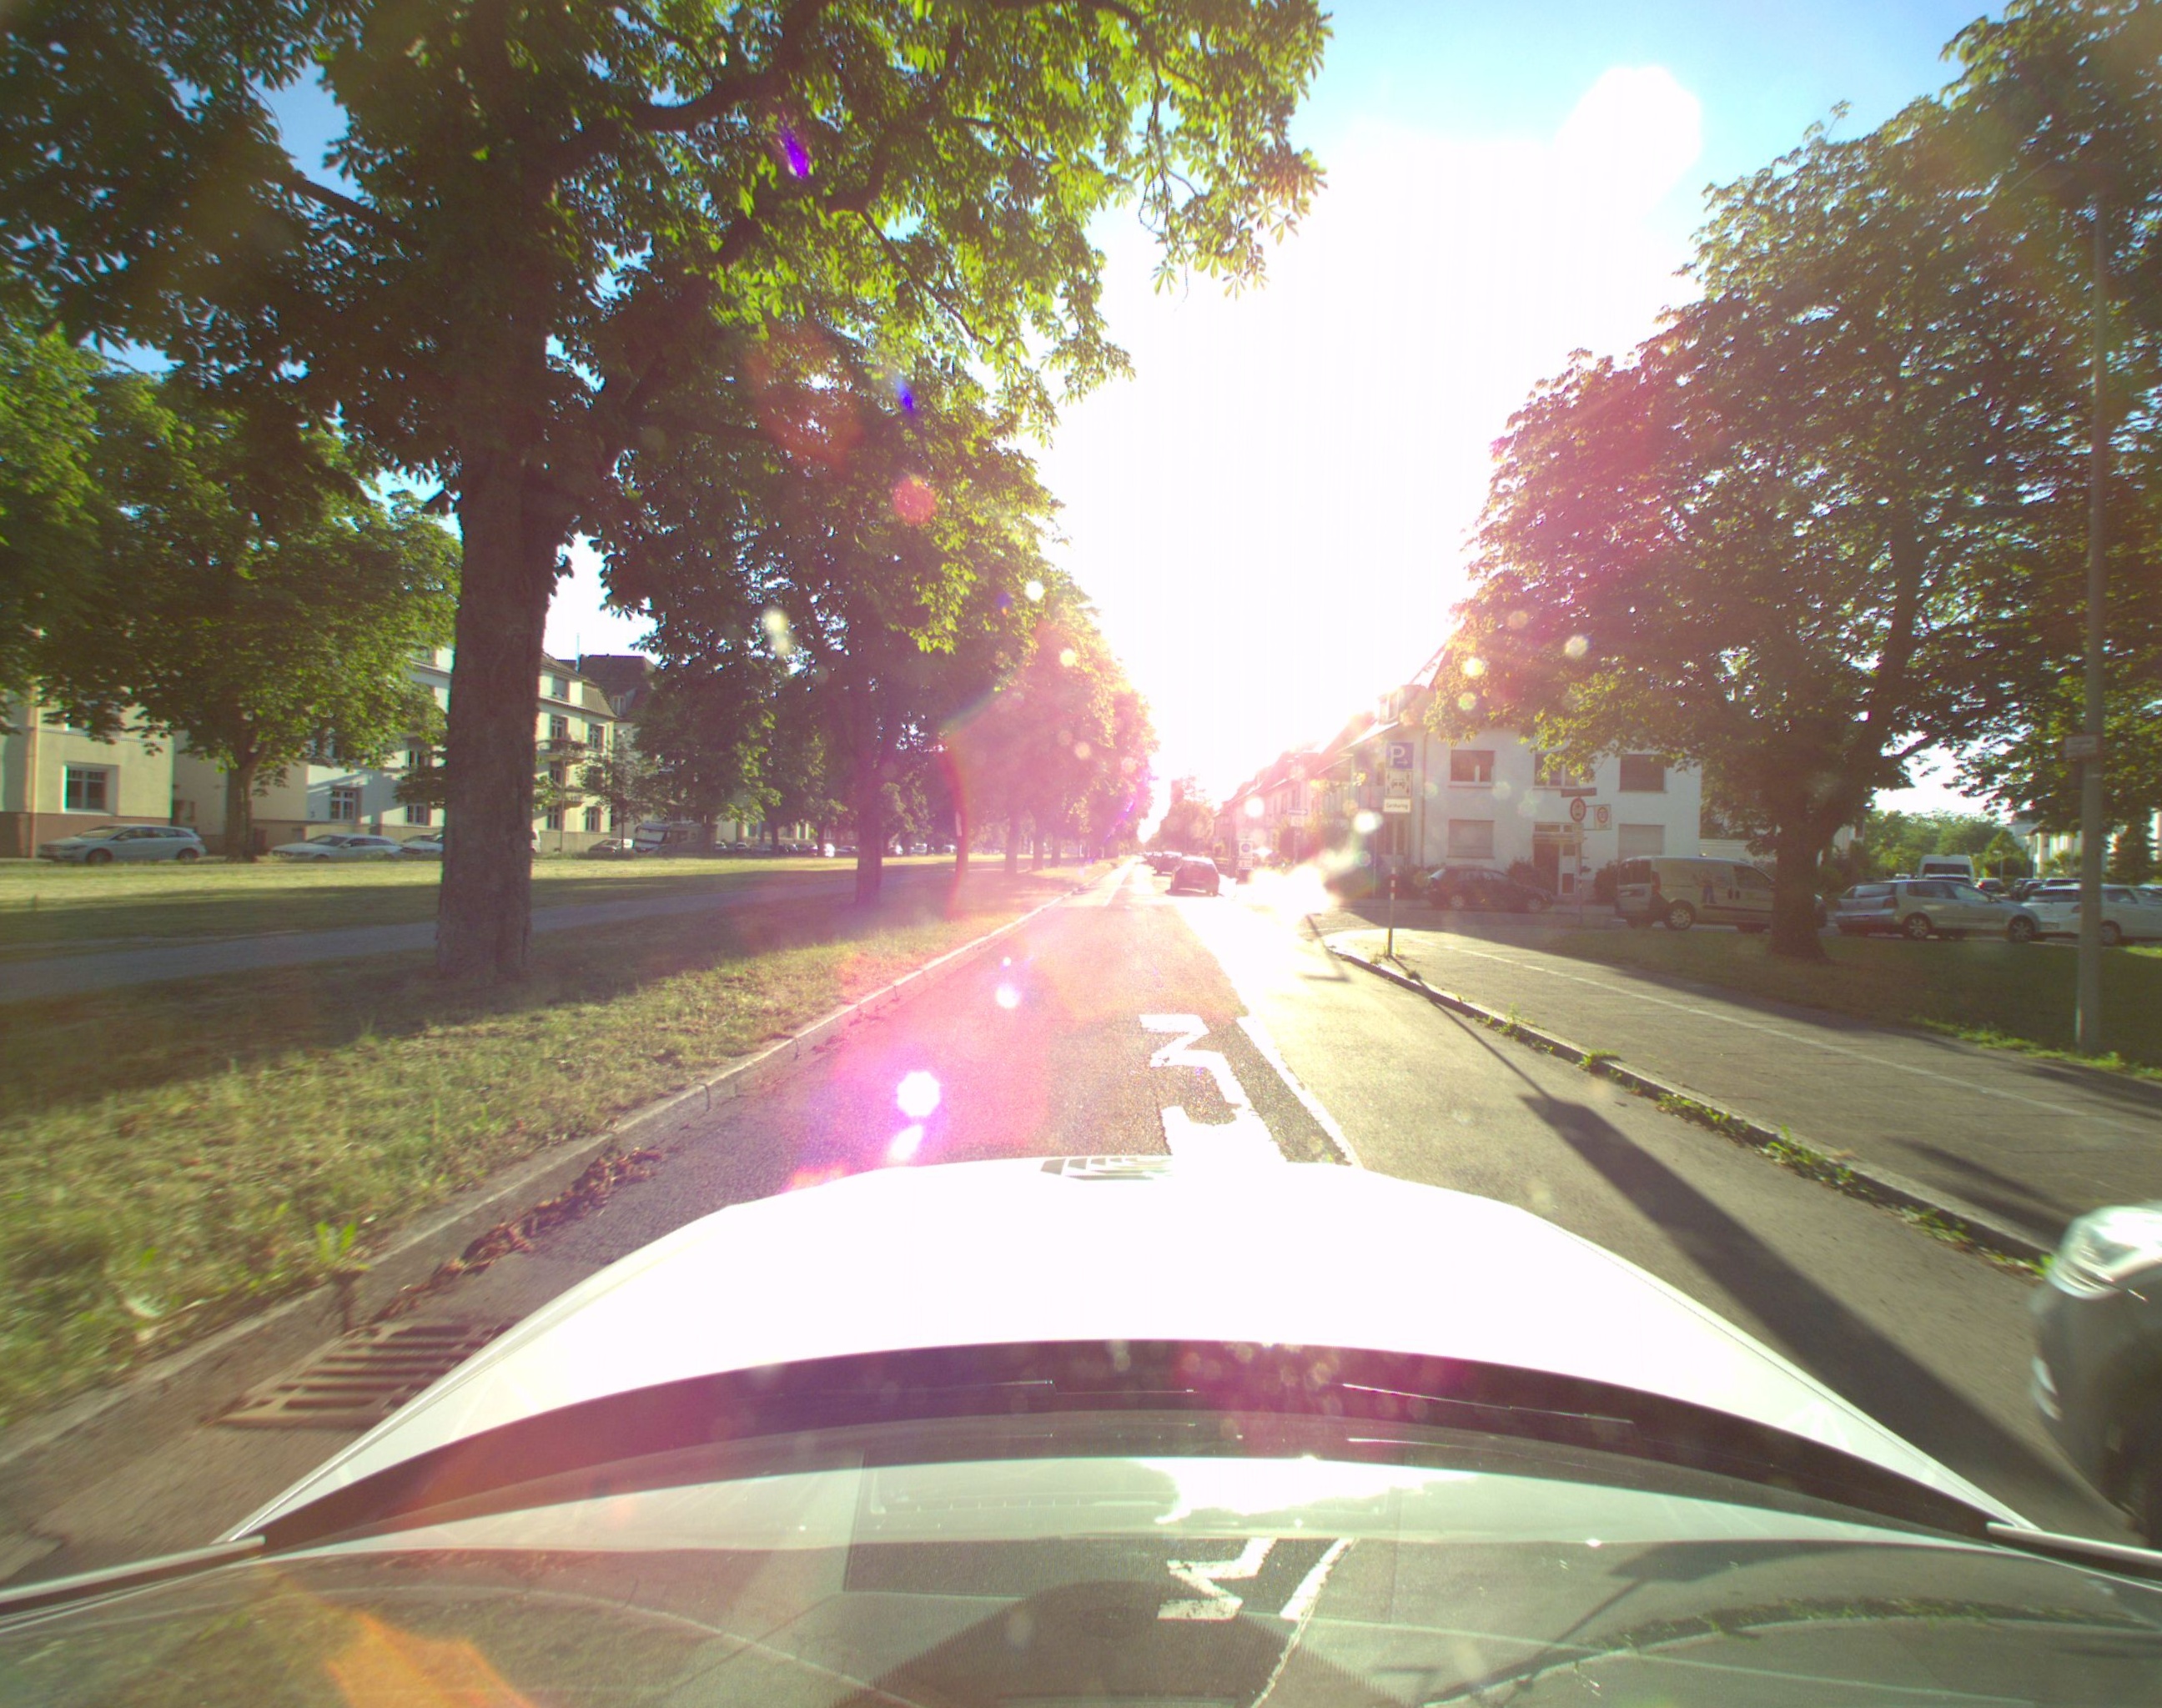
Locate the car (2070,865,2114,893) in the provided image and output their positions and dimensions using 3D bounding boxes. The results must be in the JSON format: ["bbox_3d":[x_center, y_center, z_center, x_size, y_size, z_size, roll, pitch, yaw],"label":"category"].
[{"bbox_3d":[82.819,2.041,66.767,4.020,2.014,1.977,5,-1,-42],"label":"car"}]

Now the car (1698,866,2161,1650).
[{"bbox_3d":[2.955,0.824,0.530,1.719,1.511,4.542,4,-1,2],"label":"car"}]

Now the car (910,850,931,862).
[{"bbox_3d":[-24.895,0.371,126.553,2.013,1.659,3.988,4,-1,5],"label":"car"}]

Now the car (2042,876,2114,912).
[{"bbox_3d":[57.840,2.354,47.316,1.906,1.855,4.023,3,-1,41],"label":"car"}]

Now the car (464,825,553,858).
[{"bbox_3d":[-36.641,-0.773,52.306,1.985,1.950,4.881,2,0,3],"label":"car"}]

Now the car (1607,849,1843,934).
[{"bbox_3d":[15.909,0.899,20.327,4.223,1.875,2.032,2,-1,3],"label":"car"}]

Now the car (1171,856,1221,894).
[{"bbox_3d":[4.712,0.869,33.878,1.702,1.359,4.207,4,-1,4],"label":"car"}]

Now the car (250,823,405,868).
[{"bbox_3d":[-32.075,-0.317,34.908,1.984,1.659,4.577,4,-1,6],"label":"car"}]

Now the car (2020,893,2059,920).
[{"bbox_3d":[66.439,3.634,56.487,3.650,1.670,1.620,5,-1,-41],"label":"car"}]

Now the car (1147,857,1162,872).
[{"bbox_3d":[10.598,1.480,117.538,1.985,2.014,4.003,4,-1,3],"label":"car"}]

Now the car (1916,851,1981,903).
[{"bbox_3d":[43.780,1.185,41.088,4.543,2.337,2.088,5,-1,-42],"label":"car"}]

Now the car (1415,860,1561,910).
[{"bbox_3d":[13.429,1.009,27.027,3.970,1.447,1.717,2,-1,3],"label":"car"}]

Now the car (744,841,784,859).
[{"bbox_3d":[-33.520,-0.432,86.207,1.984,1.659,4.380,4,-1,6],"label":"car"}]

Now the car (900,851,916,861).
[{"bbox_3d":[-29.744,0.392,140.012,1.633,1.643,3.856,4,-1,2],"label":"car"}]

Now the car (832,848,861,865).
[{"bbox_3d":[-27.556,0.275,95.944,1.803,1.781,4.127,4,-1,5],"label":"car"}]

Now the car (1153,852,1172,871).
[{"bbox_3d":[9.729,0.915,97.877,1.985,2.014,4.003,4,-1,3],"label":"car"}]

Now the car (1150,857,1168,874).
[{"bbox_3d":[9.810,1.476,103.176,1.985,2.014,4.003,4,-1,3],"label":"car"}]

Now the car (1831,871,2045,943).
[{"bbox_3d":[20.545,1.244,19.613,3.544,1.516,1.604,2,-1,-2],"label":"car"}]

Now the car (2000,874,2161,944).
[{"bbox_3d":[25.105,1.353,19.801,3.910,1.524,1.523,3,-2,-1],"label":"car"}]

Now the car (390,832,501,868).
[{"bbox_3d":[-31.562,-0.217,40.639,1.789,1.554,4.422,4,0,2],"label":"car"}]

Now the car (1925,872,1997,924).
[{"bbox_3d":[39.328,1.983,36.372,4.020,2.014,1.977,5,-1,-41],"label":"car"}]

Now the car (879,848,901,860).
[{"bbox_3d":[-31.066,0.032,132.552,1.984,1.659,4.361,4,-1,6],"label":"car"}]

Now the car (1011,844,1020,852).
[{"bbox_3d":[-17.073,-1.600,212.788,1.647,1.938,3.570,4,-2,3],"label":"car"}]

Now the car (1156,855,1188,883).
[{"bbox_3d":[6.602,1.076,59.642,1.985,1.781,4.003,4,0,3],"label":"car"}]

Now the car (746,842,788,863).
[{"bbox_3d":[-29.098,-0.098,75.602,1.871,1.674,4.320,4,-1,5],"label":"car"}]

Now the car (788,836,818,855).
[{"bbox_3d":[-33.024,-1.018,96.846,1.986,2.014,4.002,4,-1,2],"label":"car"}]

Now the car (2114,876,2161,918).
[{"bbox_3d":[42.285,1.691,31.612,1.975,1.570,4.133,2,0,41],"label":"car"}]

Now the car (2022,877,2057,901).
[{"bbox_3d":[70.475,2.586,59.888,3.378,1.591,1.551,5,-1,-41],"label":"car"}]

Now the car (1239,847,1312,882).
[{"bbox_3d":[11.579,0.658,48.683,3.974,1.823,1.758,2,-6,-1],"label":"car"}]

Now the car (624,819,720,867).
[{"bbox_3d":[-29.959,-0.741,60.116,2.381,3.130,7.862,5,0,4],"label":"car"}]

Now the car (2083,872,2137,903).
[{"bbox_3d":[74.840,2.472,59.291,4.022,2.014,1.976,5,-1,-44],"label":"car"}]

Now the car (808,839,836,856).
[{"bbox_3d":[-32.752,-0.794,103.112,1.986,2.014,4.002,4,-1,2],"label":"car"}]

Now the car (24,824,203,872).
[{"bbox_3d":[-37.998,-0.180,32.158,1.984,1.659,4.006,4,-1,6],"label":"car"}]

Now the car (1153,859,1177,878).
[{"bbox_3d":[7.931,1.401,77.270,1.985,1.653,4.003,2,-1,3],"label":"car"}]

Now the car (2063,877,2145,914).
[{"bbox_3d":[54.222,2.206,43.246,1.975,1.721,3.852,3,-1,41],"label":"car"}]
